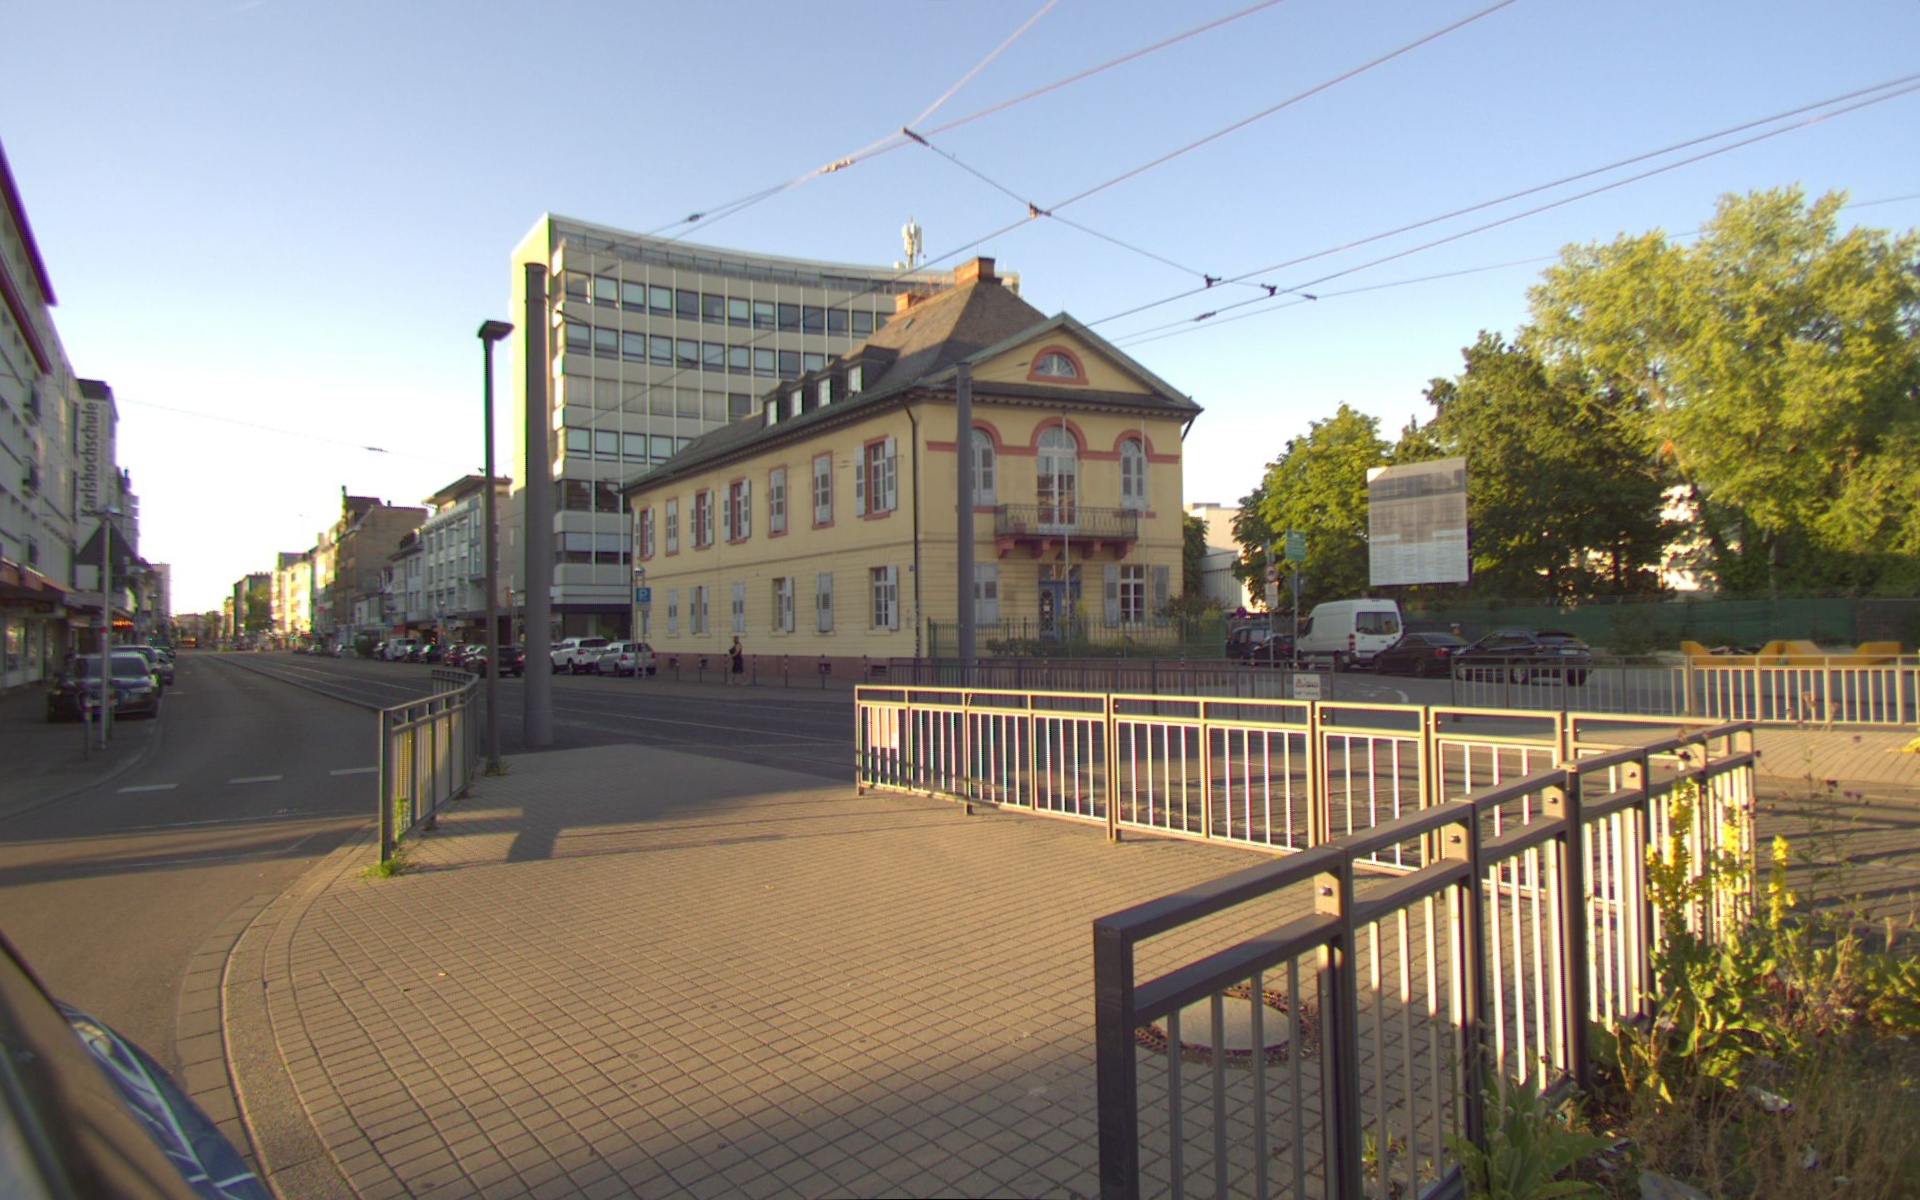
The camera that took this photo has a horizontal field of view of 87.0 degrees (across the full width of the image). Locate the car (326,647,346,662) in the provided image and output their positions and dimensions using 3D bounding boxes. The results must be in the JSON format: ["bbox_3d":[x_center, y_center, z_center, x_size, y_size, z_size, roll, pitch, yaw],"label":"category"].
[{"bbox_3d":[-71.984,6.280,116.693,1.634,1.582,3.478,-2,-1,-37],"label":"car"}]

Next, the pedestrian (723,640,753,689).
[{"bbox_3d":[-7.182,2.075,32.722,0.710,1.548,0.720,1,-3,-42],"label":"pedestrian"}]

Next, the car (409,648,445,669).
[{"bbox_3d":[-39.402,4.312,74.780,1.767,1.472,4.099,1,-3,-37],"label":"car"}]

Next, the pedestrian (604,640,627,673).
[{"bbox_3d":[-17.082,2.787,50.196,0.789,1.553,0.879,-1,-1,-36],"label":"pedestrian"}]

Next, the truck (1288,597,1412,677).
[{"bbox_3d":[14.579,1.337,38.263,2.164,2.719,5.471,-2,-1,-4],"label":"truck"}]

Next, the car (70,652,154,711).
[{"bbox_3d":[-23.977,2.241,28.724,1.630,1.431,4.199,-2,-1,-38],"label":"car"}]

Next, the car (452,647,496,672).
[{"bbox_3d":[-30.377,3.697,63.208,1.670,1.436,3.973,-2,-1,-38],"label":"car"}]

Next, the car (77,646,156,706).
[{"bbox_3d":[-27.554,2.415,33.159,1.832,1.714,4.426,-2,-1,-38],"label":"car"}]

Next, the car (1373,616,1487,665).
[{"bbox_3d":[20.471,1.777,44.208,1.969,2.029,4.005,1,-3,-42],"label":"car"}]

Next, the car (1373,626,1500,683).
[{"bbox_3d":[15.186,1.682,32.506,1.971,1.589,4.002,-2,-1,-2],"label":"car"}]

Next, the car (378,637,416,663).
[{"bbox_3d":[-47.961,4.257,86.175,1.939,2.029,5.109,-1,-1,-39],"label":"car"}]

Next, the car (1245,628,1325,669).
[{"bbox_3d":[13.997,2.061,43.878,1.971,1.589,4.002,-2,-1,-2],"label":"car"}]

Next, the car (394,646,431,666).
[{"bbox_3d":[-43.373,4.434,80.168,1.848,1.437,4.580,-2,-1,-38],"label":"car"}]

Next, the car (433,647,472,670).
[{"bbox_3d":[-33.677,3.872,67.129,1.670,1.445,3.599,0,-3,-38],"label":"car"}]

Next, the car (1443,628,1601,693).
[{"bbox_3d":[15.420,1.611,28.042,1.971,1.558,4.002,-2,-1,-2],"label":"car"}]

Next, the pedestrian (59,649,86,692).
[{"bbox_3d":[-33.979,2.696,38.752,0.724,1.586,0.968,1,-3,-38],"label":"pedestrian"}]

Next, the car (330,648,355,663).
[{"bbox_3d":[-69.098,6.197,113.181,1.867,1.568,4.632,-2,-1,-38],"label":"car"}]

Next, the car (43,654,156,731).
[{"bbox_3d":[-19.412,2.009,22.990,1.767,1.423,4.696,-2,-1,-38],"label":"car"}]

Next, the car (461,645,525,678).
[{"bbox_3d":[-21.280,2.781,46.036,1.744,1.387,4.230,0,-2,-38],"label":"car"}]

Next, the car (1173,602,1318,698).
[{"bbox_3d":[6.754,1.140,23.697,1.996,2.029,3.951,-2,-3,36],"label":"car"}]

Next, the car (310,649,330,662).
[{"bbox_3d":[-82.106,7.056,129.802,1.818,1.504,3.824,-2,-1,-38],"label":"car"}]

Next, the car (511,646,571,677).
[{"bbox_3d":[-21.683,3.156,52.318,1.699,1.464,4.291,-2,-1,-38],"label":"car"}]

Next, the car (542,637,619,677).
[{"bbox_3d":[-17.713,2.627,47.120,1.863,1.673,4.769,-1,-1,-40],"label":"car"}]

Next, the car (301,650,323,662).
[{"bbox_3d":[-89.331,7.689,139.536,1.969,1.431,4.411,-2,-1,-40],"label":"car"}]

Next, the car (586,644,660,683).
[{"bbox_3d":[-14.363,2.674,43.029,1.726,1.485,4.008,-2,-2,-38],"label":"car"}]

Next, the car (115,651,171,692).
[{"bbox_3d":[-35.563,3.049,44.072,1.769,1.544,4.865,-2,-1,-39],"label":"car"}]

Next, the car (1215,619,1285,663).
[{"bbox_3d":[13.848,1.928,48.553,1.971,1.900,4.002,-2,-1,-2],"label":"car"}]
